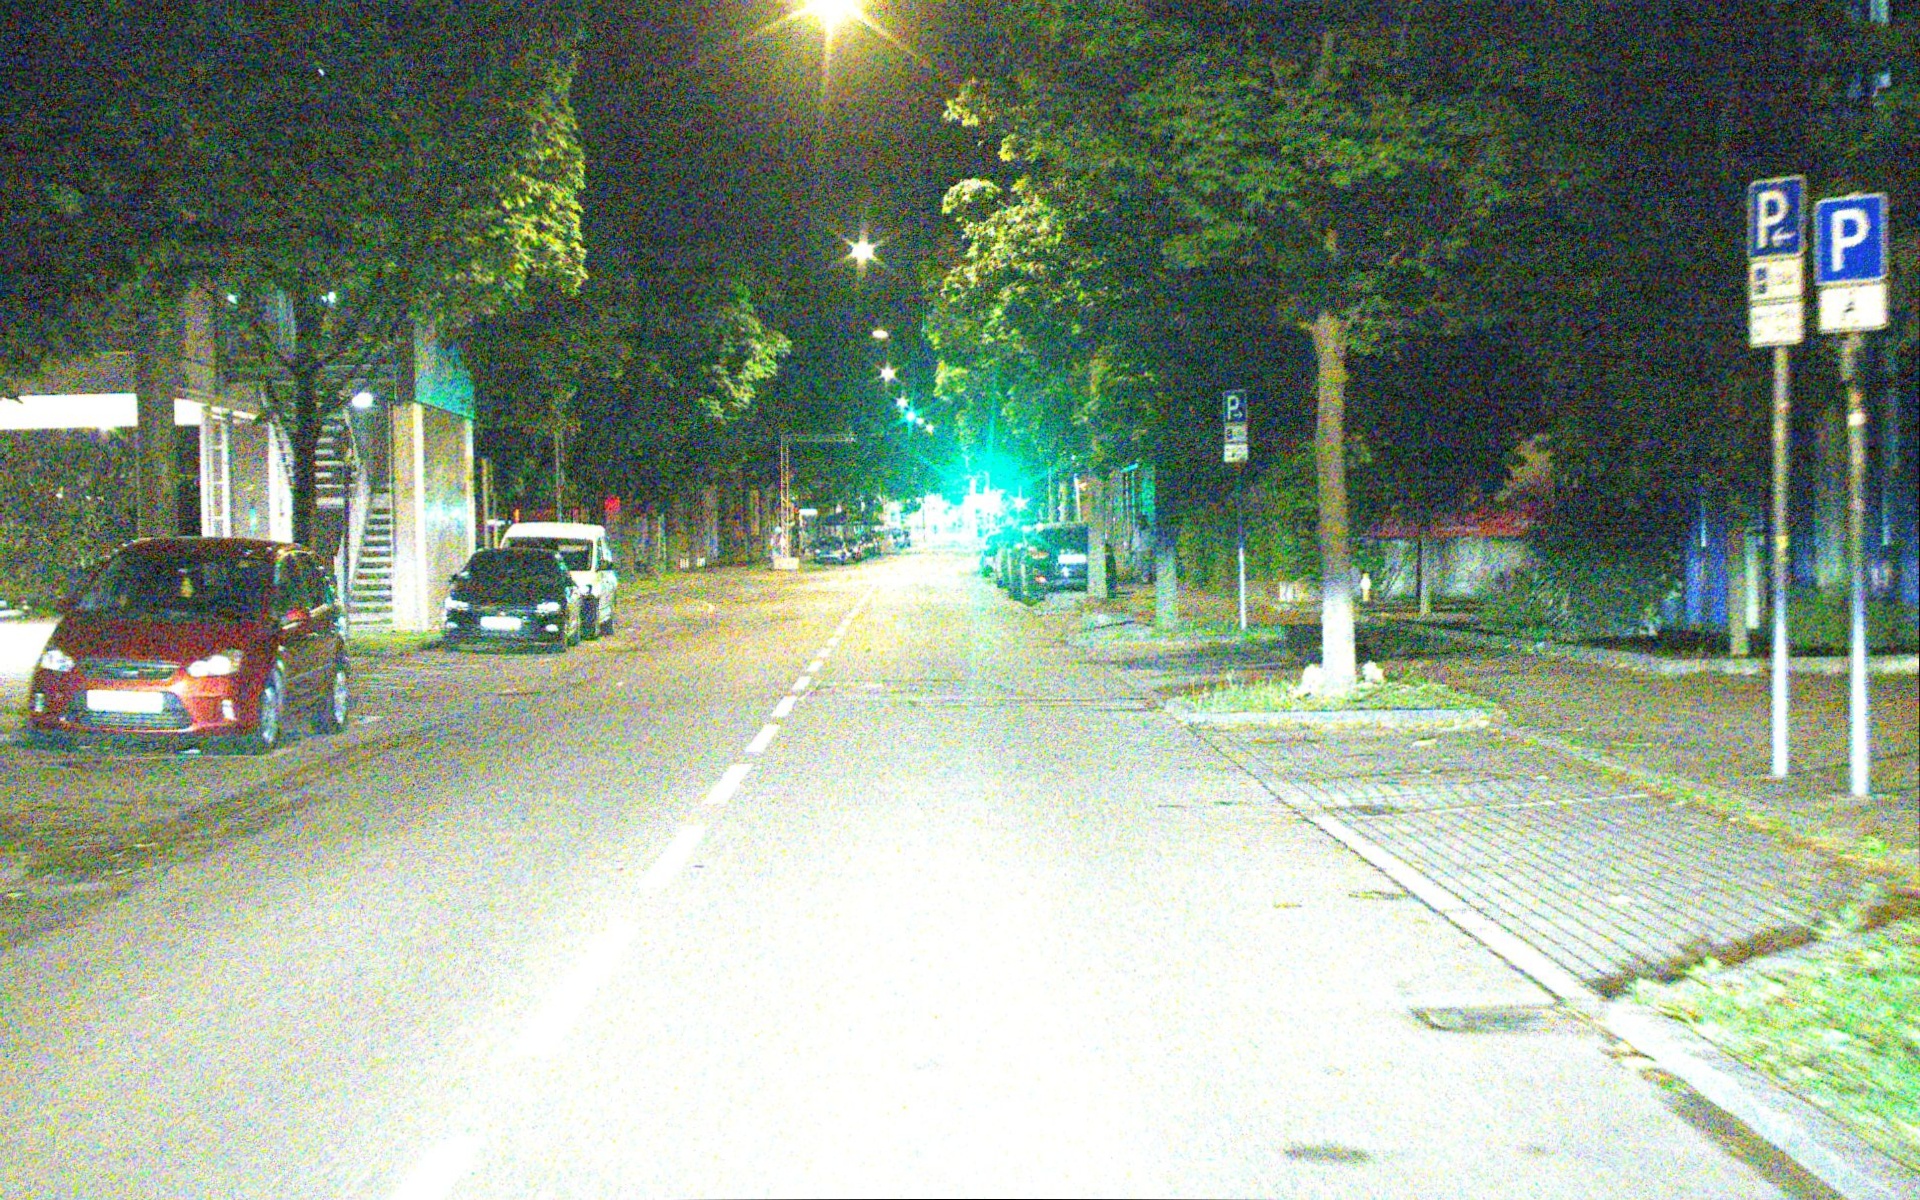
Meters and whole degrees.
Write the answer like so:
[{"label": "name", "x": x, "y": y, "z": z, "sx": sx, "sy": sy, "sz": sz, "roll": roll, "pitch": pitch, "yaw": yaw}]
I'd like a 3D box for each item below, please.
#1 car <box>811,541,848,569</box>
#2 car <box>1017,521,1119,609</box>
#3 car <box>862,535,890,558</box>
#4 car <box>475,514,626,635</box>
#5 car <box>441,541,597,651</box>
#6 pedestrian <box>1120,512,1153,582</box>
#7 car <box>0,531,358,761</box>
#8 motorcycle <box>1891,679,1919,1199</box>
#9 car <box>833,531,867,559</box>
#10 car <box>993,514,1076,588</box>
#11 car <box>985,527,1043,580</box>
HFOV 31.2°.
[{"label": "car", "x": -6.744, "y": -2.360, "z": 177.849, "sx": 1.740, "sy": 1.411, "sz": 3.752, "roll": -1, "pitch": 1, "yaw": 0}, {"label": "car", "x": 2.155, "y": -0.734, "z": 69.747, "sx": 1.853, "sy": 1.648, "sz": 4.209, "roll": -3, "pitch": 1, "yaw": 0}, {"label": "car", "x": -5.396, "y": -3.428, "z": 220.882, "sx": 1.740, "sy": 1.411, "sz": 3.752, "roll": -1, "pitch": 1, "yaw": 0}, {"label": "car", "x": -6.535, "y": -0.442, "z": 55.295, "sx": 1.822, "sy": 1.805, "sz": 4.210, "roll": 2, "pitch": 1, "yaw": 1}, {"label": "car", "x": -6.274, "y": -0.084, "z": 49.255, "sx": 1.700, "sy": 1.428, "sz": 3.828, "roll": 2, "pitch": 1, "yaw": 0}, {"label": "pedestrian", "x": 4.432, "y": -1.320, "z": 86.225, "sx": 0.705, "sy": 1.716, "sz": 0.821, "roll": -2, "pitch": 1, "yaw": 0}, {"label": "car", "x": -6.049, "y": 0.295, "z": 27.063, "sx": 1.822, "sy": 1.593, "sz": 4.073, "roll": 2, "pitch": 1, "yaw": 1}, {"label": "motorcycle", "x": 2.593, "y": 0.771, "z": 5.381, "sx": 0.926, "sy": 1.279, "sz": 2.235, "roll": -3, "pitch": 2, "yaw": -25}, {"label": "car", "x": -6.118, "y": -3.064, "z": 191.626, "sx": 1.740, "sy": 1.411, "sz": 3.753, "roll": -2, "pitch": 3, "yaw": 0}, {"label": "car", "x": 1.926, "y": -1.301, "z": 90.174, "sx": 1.771, "sy": 1.800, "sz": 4.278, "roll": -3, "pitch": 1, "yaw": -3}, {"label": "car", "x": 1.650, "y": -1.466, "z": 106.707, "sx": 1.591, "sy": 1.529, "sz": 4.138, "roll": -3, "pitch": 1, "yaw": -1}]
